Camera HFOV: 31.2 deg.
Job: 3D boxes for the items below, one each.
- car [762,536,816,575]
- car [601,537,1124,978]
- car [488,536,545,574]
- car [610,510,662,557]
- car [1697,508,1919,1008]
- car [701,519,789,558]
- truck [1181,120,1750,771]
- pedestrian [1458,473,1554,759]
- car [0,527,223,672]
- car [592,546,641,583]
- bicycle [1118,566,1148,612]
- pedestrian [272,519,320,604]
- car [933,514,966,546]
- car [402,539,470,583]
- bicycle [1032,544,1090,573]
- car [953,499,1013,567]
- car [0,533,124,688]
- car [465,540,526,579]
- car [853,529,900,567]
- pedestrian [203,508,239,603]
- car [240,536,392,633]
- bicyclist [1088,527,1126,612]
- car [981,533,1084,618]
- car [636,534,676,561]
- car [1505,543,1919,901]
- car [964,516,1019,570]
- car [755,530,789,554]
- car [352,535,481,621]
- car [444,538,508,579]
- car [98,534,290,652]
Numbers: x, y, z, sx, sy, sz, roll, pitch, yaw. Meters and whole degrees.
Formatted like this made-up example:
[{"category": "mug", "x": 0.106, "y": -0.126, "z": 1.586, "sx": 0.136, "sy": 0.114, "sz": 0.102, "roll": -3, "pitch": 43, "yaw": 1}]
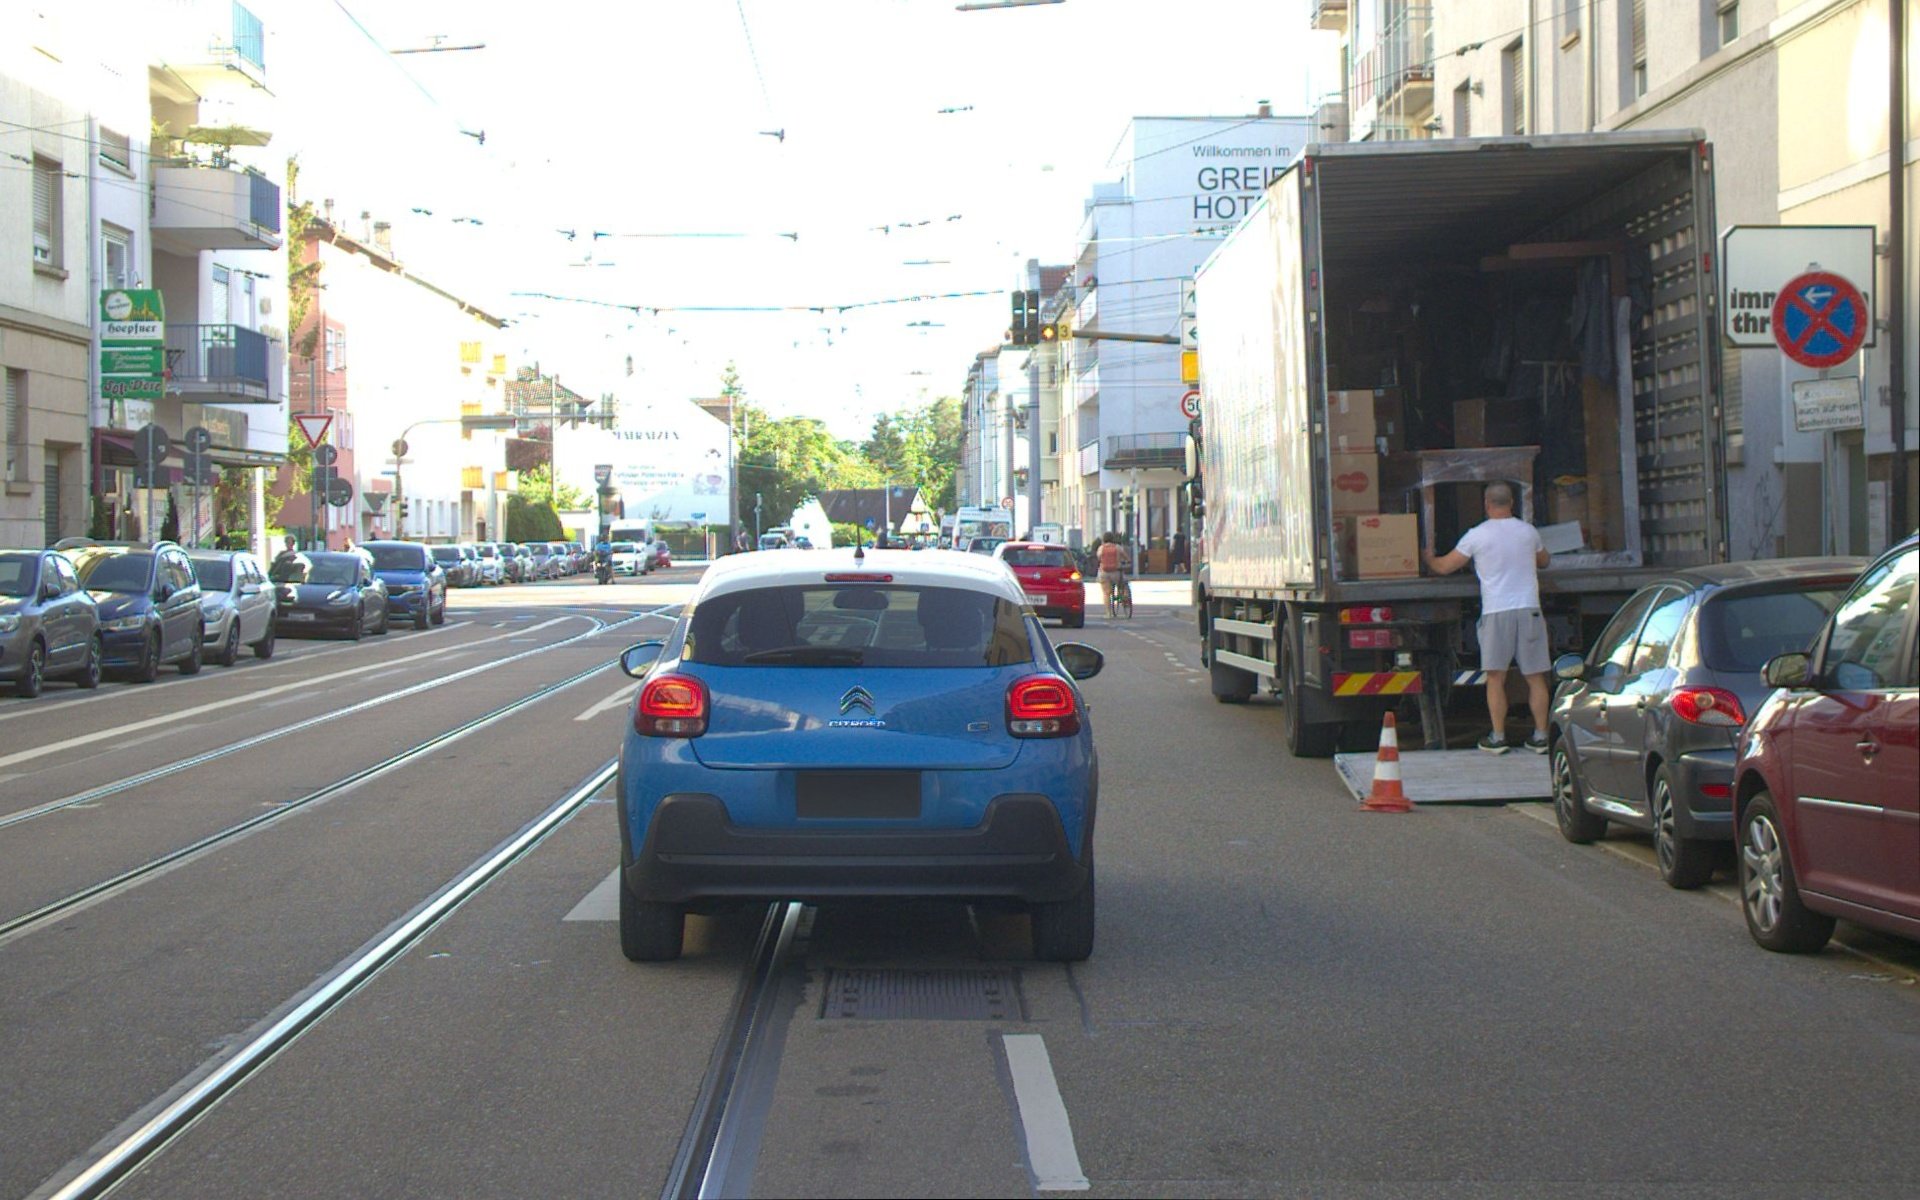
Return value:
[{"category": "car", "x": -6.857, "y": -1.803, "z": 138.138, "sx": 1.993, "sy": 1.503, "sz": 4.000, "roll": 0, "pitch": 1, "yaw": -1}, {"category": "car", "x": -0.455, "y": 0.499, "z": 13.607, "sx": 1.743, "sy": 1.457, "sz": 4.001, "roll": 1, "pitch": 1, "yaw": -4}, {"category": "car", "x": -18.026, "y": -1.851, "z": 139.976, "sx": 1.911, "sy": 1.492, "sz": 4.001, "roll": 0, "pitch": 1, "yaw": -2}, {"category": "car", "x": -15.750, "y": -3.263, "z": 167.486, "sx": 2.207, "sy": 2.243, "sz": 4.677, "roll": 0, "pitch": 1, "yaw": -2}, {"category": "car", "x": 3.845, "y": 0.485, "z": 11.473, "sx": 1.591, "sy": 1.603, "sz": 4.247, "roll": -2, "pitch": 1, "yaw": -3}, {"category": "car", "x": -9.189, "y": -2.634, "z": 146.602, "sx": 1.809, "sy": 1.634, "sz": 3.999, "roll": -1, "pitch": 2, "yaw": -38}, {"category": "truck", "x": 3.568, "y": -1.099, "z": 27.556, "sx": 2.860, "sy": 4.059, "sz": 11.779, "roll": -1, "pitch": 1, "yaw": 0}, {"category": "pedestrian", "x": 3.423, "y": 0.096, "z": 21.554, "sx": 0.512, "sy": 1.769, "sz": 0.416, "roll": -1, "pitch": 1, "yaw": -1}, {"category": "car", "x": -10.112, "y": -0.027, "z": 41.054, "sx": 1.699, "sy": 1.610, "sz": 4.244, "roll": 1, "pitch": 1, "yaw": 0}, {"category": "car", "x": -14.903, "y": -1.559, "z": 149.240, "sx": 1.849, "sy": 1.568, "sz": 4.402, "roll": 0, "pitch": 1, "yaw": -3}, {"category": "bicycle", "x": 3.352, "y": -0.221, "z": 66.762, "sx": 0.498, "sy": 0.861, "sz": 1.749, "roll": 0, "pitch": 1, "yaw": 0}, {"category": "pedestrian", "x": -12.083, "y": -0.704, "z": 62.541, "sx": 0.697, "sy": 1.543, "sz": 0.721, "roll": 0, "pitch": 2, "yaw": 3}, {"category": "car", "x": -0.536, "y": -3.636, "z": 178.338, "sx": 1.689, "sy": 1.612, "sz": 4.000, "roll": 1, "pitch": 1, "yaw": 0}, {"category": "car", "x": -17.766, "y": -1.331, "z": 116.669, "sx": 1.911, "sy": 1.428, "sz": 4.001, "roll": -1, "pitch": 1, "yaw": -3}, {"category": "bicycle", "x": 3.338, "y": -1.374, "z": 113.847, "sx": 1.874, "sy": 0.953, "sz": 0.701, "roll": 0, "pitch": 1, "yaw": 4}, {"category": "car", "x": 0.777, "y": -2.320, "z": 119.356, "sx": 1.993, "sy": 2.317, "sz": 4.000, "roll": 1, "pitch": 1, "yaw": -1}, {"category": "car", "x": -10.300, "y": 0.075, "z": 36.851, "sx": 1.699, "sy": 1.563, "sz": 4.000, "roll": 1, "pitch": 1, "yaw": 0}, {"category": "car", "x": -18.064, "y": -1.589, "z": 133.835, "sx": 1.911, "sy": 1.492, "sz": 4.001, "roll": 0, "pitch": 1, "yaw": -2}, {"category": "car", "x": -3.596, "y": -2.232, "z": 148.388, "sx": 1.993, "sy": 1.612, "sz": 4.000, "roll": 1, "pitch": 1, "yaw": -1}, {"category": "pedestrian", "x": -15.716, "y": -0.946, "z": 73.116, "sx": 0.686, "sy": 2.007, "sz": 0.486, "roll": 0, "pitch": 1, "yaw": -3}, {"category": "car", "x": -10.618, "y": -0.262, "z": 56.950, "sx": 1.699, "sy": 1.504, "sz": 4.312, "roll": 1, "pitch": 1, "yaw": 0}, {"category": "bicyclist", "x": 2.861, "y": -0.591, "z": 66.864, "sx": 0.726, "sy": 1.640, "sz": 0.790, "roll": 0, "pitch": 1, "yaw": 2}, {"category": "car", "x": 1.299, "y": -0.455, "z": 60.324, "sx": 1.738, "sy": 1.415, "sz": 4.000, "roll": 0, "pitch": 1, "yaw": 2}, {"category": "car", "x": -17.008, "y": -2.939, "z": 192.505, "sx": 2.021, "sy": 1.520, "sz": 4.001, "roll": 0, "pitch": 1, "yaw": -2}, {"category": "car", "x": 3.799, "y": 0.485, "z": 16.549, "sx": 1.582, "sy": 1.458, "sz": 3.881, "roll": -2, "pitch": 1, "yaw": -2}, {"category": "car", "x": 1.021, "y": -1.899, "z": 114.429, "sx": 1.732, "sy": 1.744, "sz": 3.214, "roll": 1, "pitch": 1, "yaw": -1}, {"category": "car", "x": -11.839, "y": -3.682, "z": 217.055, "sx": 2.021, "sy": 1.520, "sz": 4.001, "roll": 0, "pitch": 1, "yaw": -2}, {"category": "car", "x": -9.999, "y": -0.408, "z": 63.445, "sx": 1.744, "sy": 1.504, "sz": 4.000, "roll": 1, "pitch": 1, "yaw": 0}, {"category": "car", "x": -17.870, "y": -1.544, "z": 127.036, "sx": 1.911, "sy": 1.492, "sz": 4.001, "roll": 0, "pitch": 1, "yaw": -2}, {"category": "car", "x": -10.373, "y": -0.114, "z": 46.841, "sx": 1.699, "sy": 1.504, "sz": 4.387, "roll": 1, "pitch": 1, "yaw": -1}]
